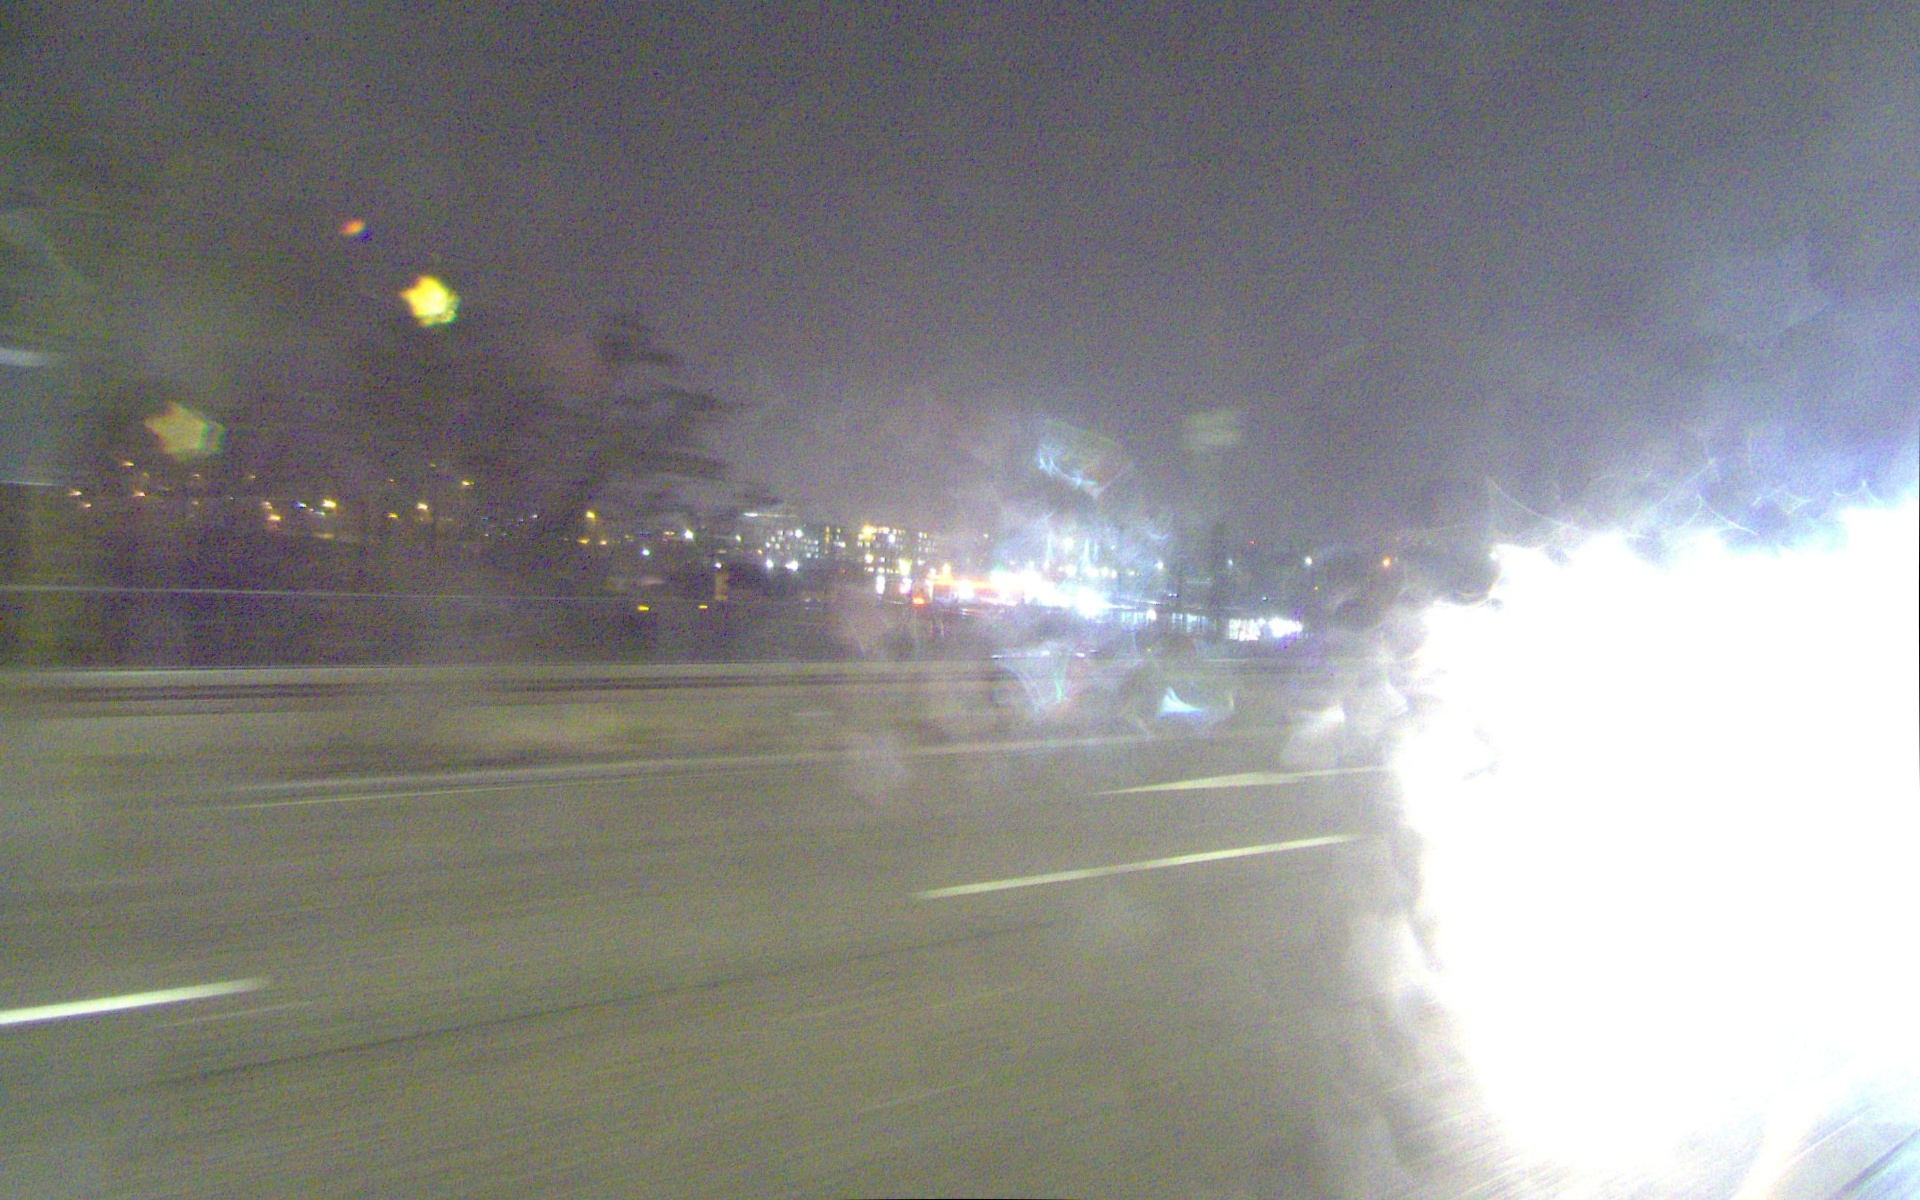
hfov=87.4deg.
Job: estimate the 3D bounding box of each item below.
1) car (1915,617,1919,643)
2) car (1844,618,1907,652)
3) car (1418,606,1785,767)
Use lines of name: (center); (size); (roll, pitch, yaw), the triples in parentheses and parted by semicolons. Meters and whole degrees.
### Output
car: (55.405, 1.691, 56.969); (1.795, 1.423, 4.023); (1, 1, 44)
car: (70.380, 2.660, 77.311); (1.961, 2.040, 3.999); (8, 5, 19)
car: (7.051, 0.836, 10.934); (4.172, 1.446, 1.757); (2, -1, -32)
